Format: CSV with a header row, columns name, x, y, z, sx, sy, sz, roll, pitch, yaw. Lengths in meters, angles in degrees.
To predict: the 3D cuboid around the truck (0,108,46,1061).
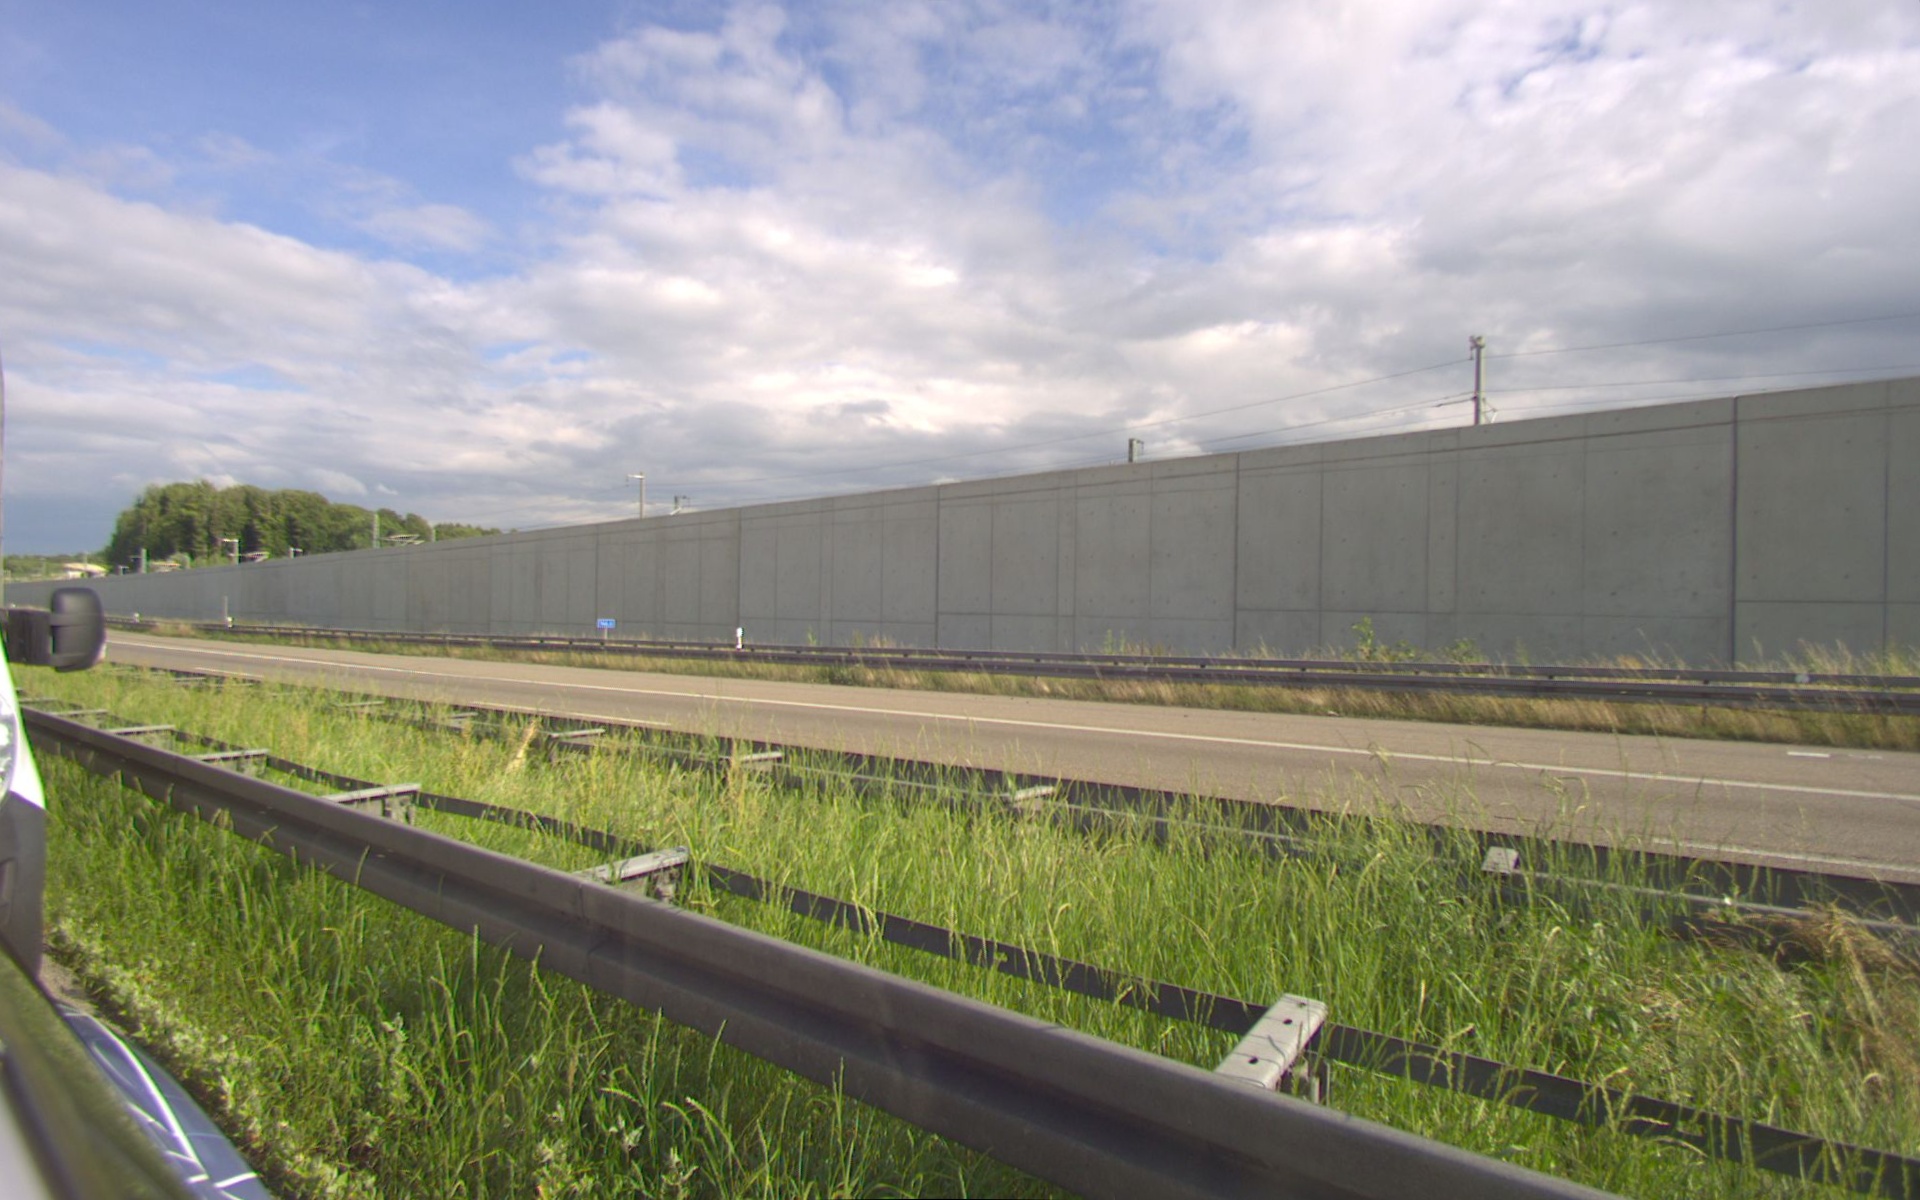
name,x,y,z,sx,sy,sz,roll,pitch,yaw
truck,-6.668,-0.019,5.206,7.800,3.129,2.033,-1,0,41
